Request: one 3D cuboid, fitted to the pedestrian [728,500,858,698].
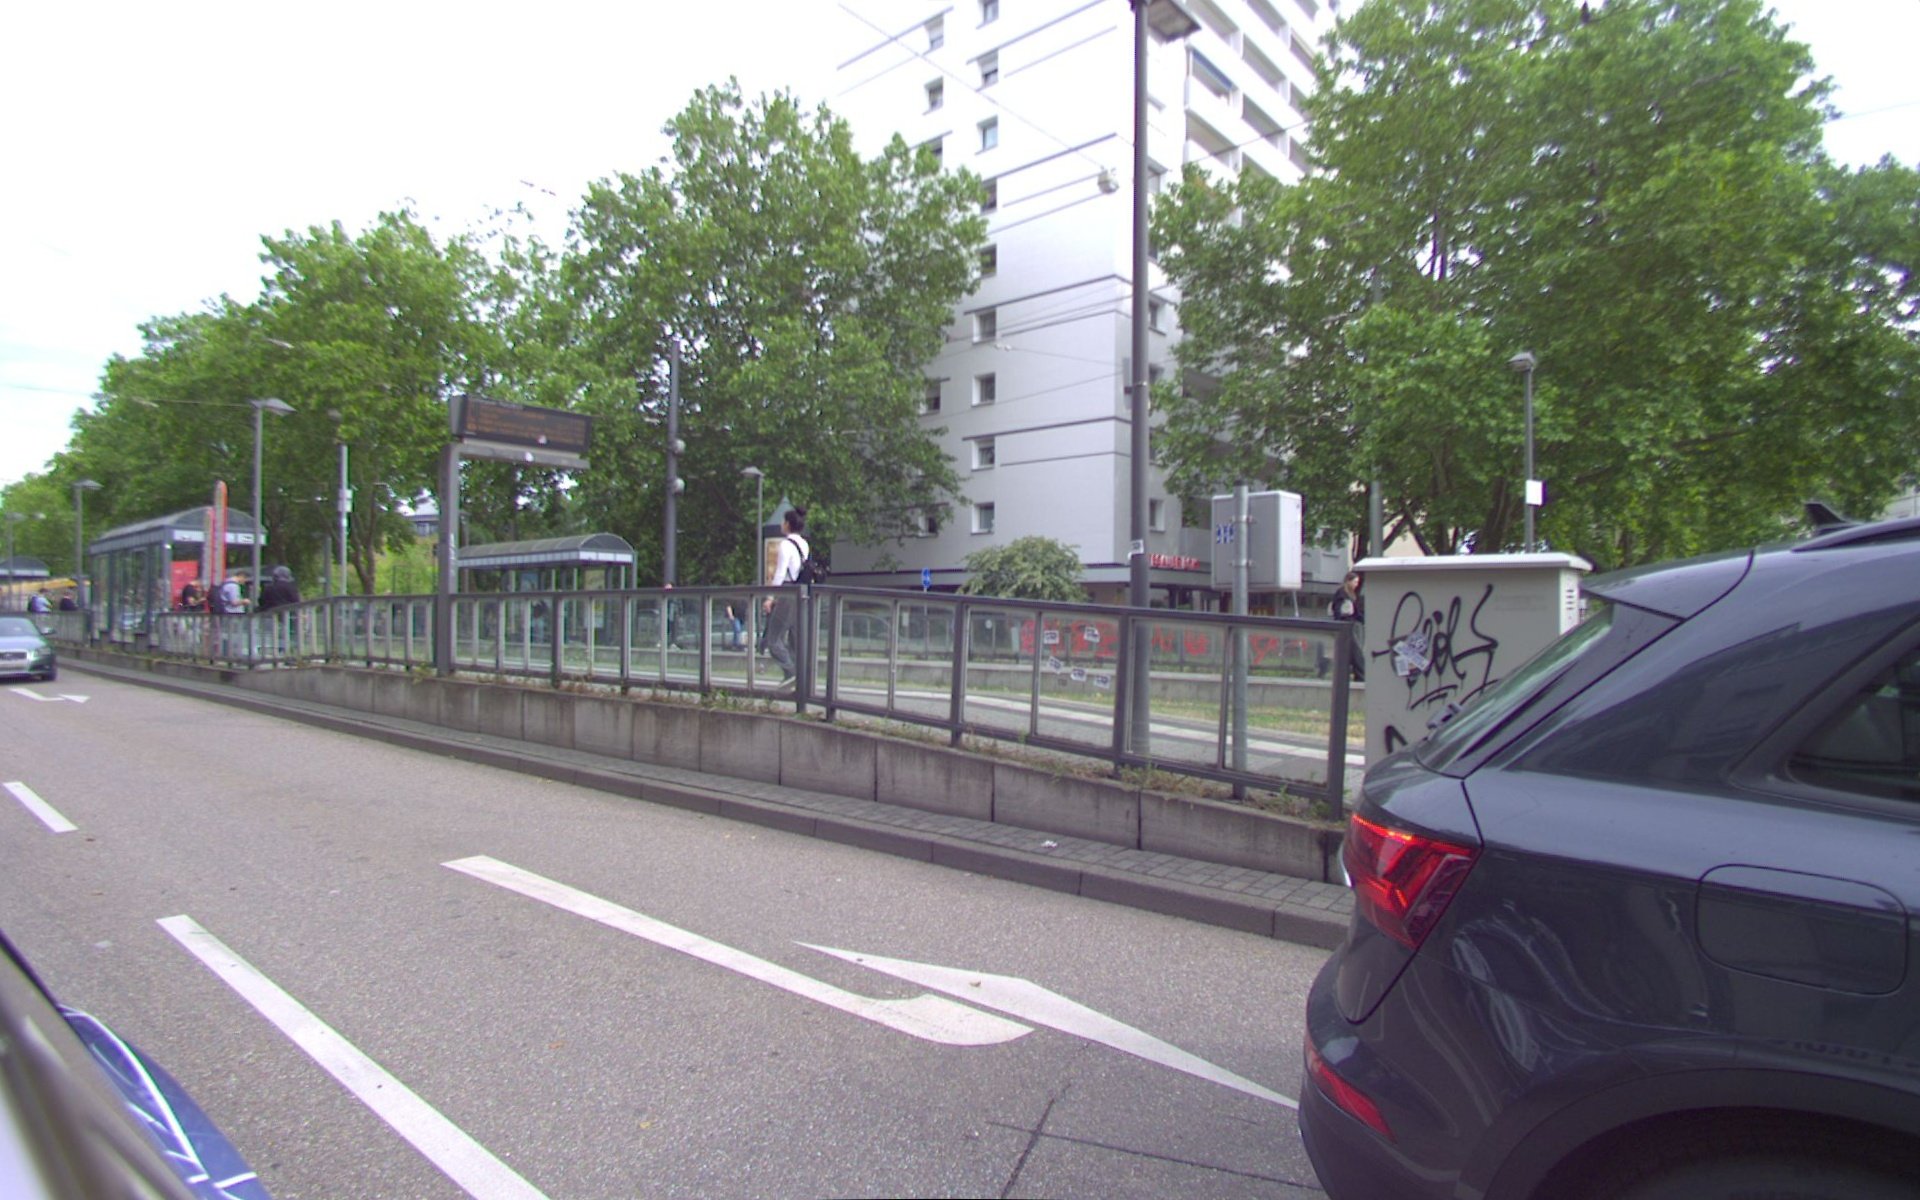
[{"bbox_3d":[-1.529,-0.007,9.212,0.979,1.683,0.711,-1,0,44],"label":"pedestrian"}]

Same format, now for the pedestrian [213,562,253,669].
[{"bbox_3d":[-12.698,0.267,17.669,0.605,1.818,0.469,-1,0,45],"label":"pedestrian"}]

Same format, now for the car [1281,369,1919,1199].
[{"bbox_3d":[2.696,0.530,0.971,4.225,1.649,1.715,-1,0,41],"label":"car"}]

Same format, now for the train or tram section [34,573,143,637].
[{"bbox_3d":[-56.735,0.347,65.639,15.196,3.781,3.295,-1,0,41],"label":"train or tram section"}]

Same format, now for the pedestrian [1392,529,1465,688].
[{"bbox_3d":[6.047,0.104,13.060,0.666,1.965,0.728,-1,0,41],"label":"pedestrian"}]

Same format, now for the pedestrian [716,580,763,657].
[{"bbox_3d":[-5.365,0.441,24.635,0.666,1.848,0.871,-1,0,41],"label":"pedestrian"}]

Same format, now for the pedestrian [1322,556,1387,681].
[{"bbox_3d":[5.788,0.263,14.830,0.666,1.763,0.728,-1,0,41],"label":"pedestrian"}]

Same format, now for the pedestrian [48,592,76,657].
[{"bbox_3d":[-25.561,0.694,28.823,0.523,1.818,0.607,-1,0,-35],"label":"pedestrian"}]

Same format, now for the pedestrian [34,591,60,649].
[{"bbox_3d":[-29.030,0.624,32.185,0.523,1.818,0.607,-1,0,-35],"label":"pedestrian"}]

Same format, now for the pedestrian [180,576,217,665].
[{"bbox_3d":[-15.918,0.420,21.162,0.467,1.818,0.607,-1,0,-24],"label":"pedestrian"}]

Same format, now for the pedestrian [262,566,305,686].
[{"bbox_3d":[-10.522,0.389,15.741,0.513,1.818,0.606,-1,0,-37],"label":"pedestrian"}]

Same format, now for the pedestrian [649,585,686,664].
[{"bbox_3d":[-7.372,0.607,25.511,0.553,1.945,0.690,-1,0,41],"label":"pedestrian"}]

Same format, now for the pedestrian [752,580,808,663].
[{"bbox_3d":[-3.971,0.463,22.301,0.850,1.769,0.871,-1,0,41],"label":"pedestrian"}]

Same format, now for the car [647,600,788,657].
[{"bbox_3d":[-7.188,0.802,29.911,3.991,1.564,1.912,-1,0,35],"label":"car"}]

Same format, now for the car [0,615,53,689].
[{"bbox_3d":[-20.045,1.030,20.750,4.097,1.398,1.694,-1,0,41],"label":"car"}]
